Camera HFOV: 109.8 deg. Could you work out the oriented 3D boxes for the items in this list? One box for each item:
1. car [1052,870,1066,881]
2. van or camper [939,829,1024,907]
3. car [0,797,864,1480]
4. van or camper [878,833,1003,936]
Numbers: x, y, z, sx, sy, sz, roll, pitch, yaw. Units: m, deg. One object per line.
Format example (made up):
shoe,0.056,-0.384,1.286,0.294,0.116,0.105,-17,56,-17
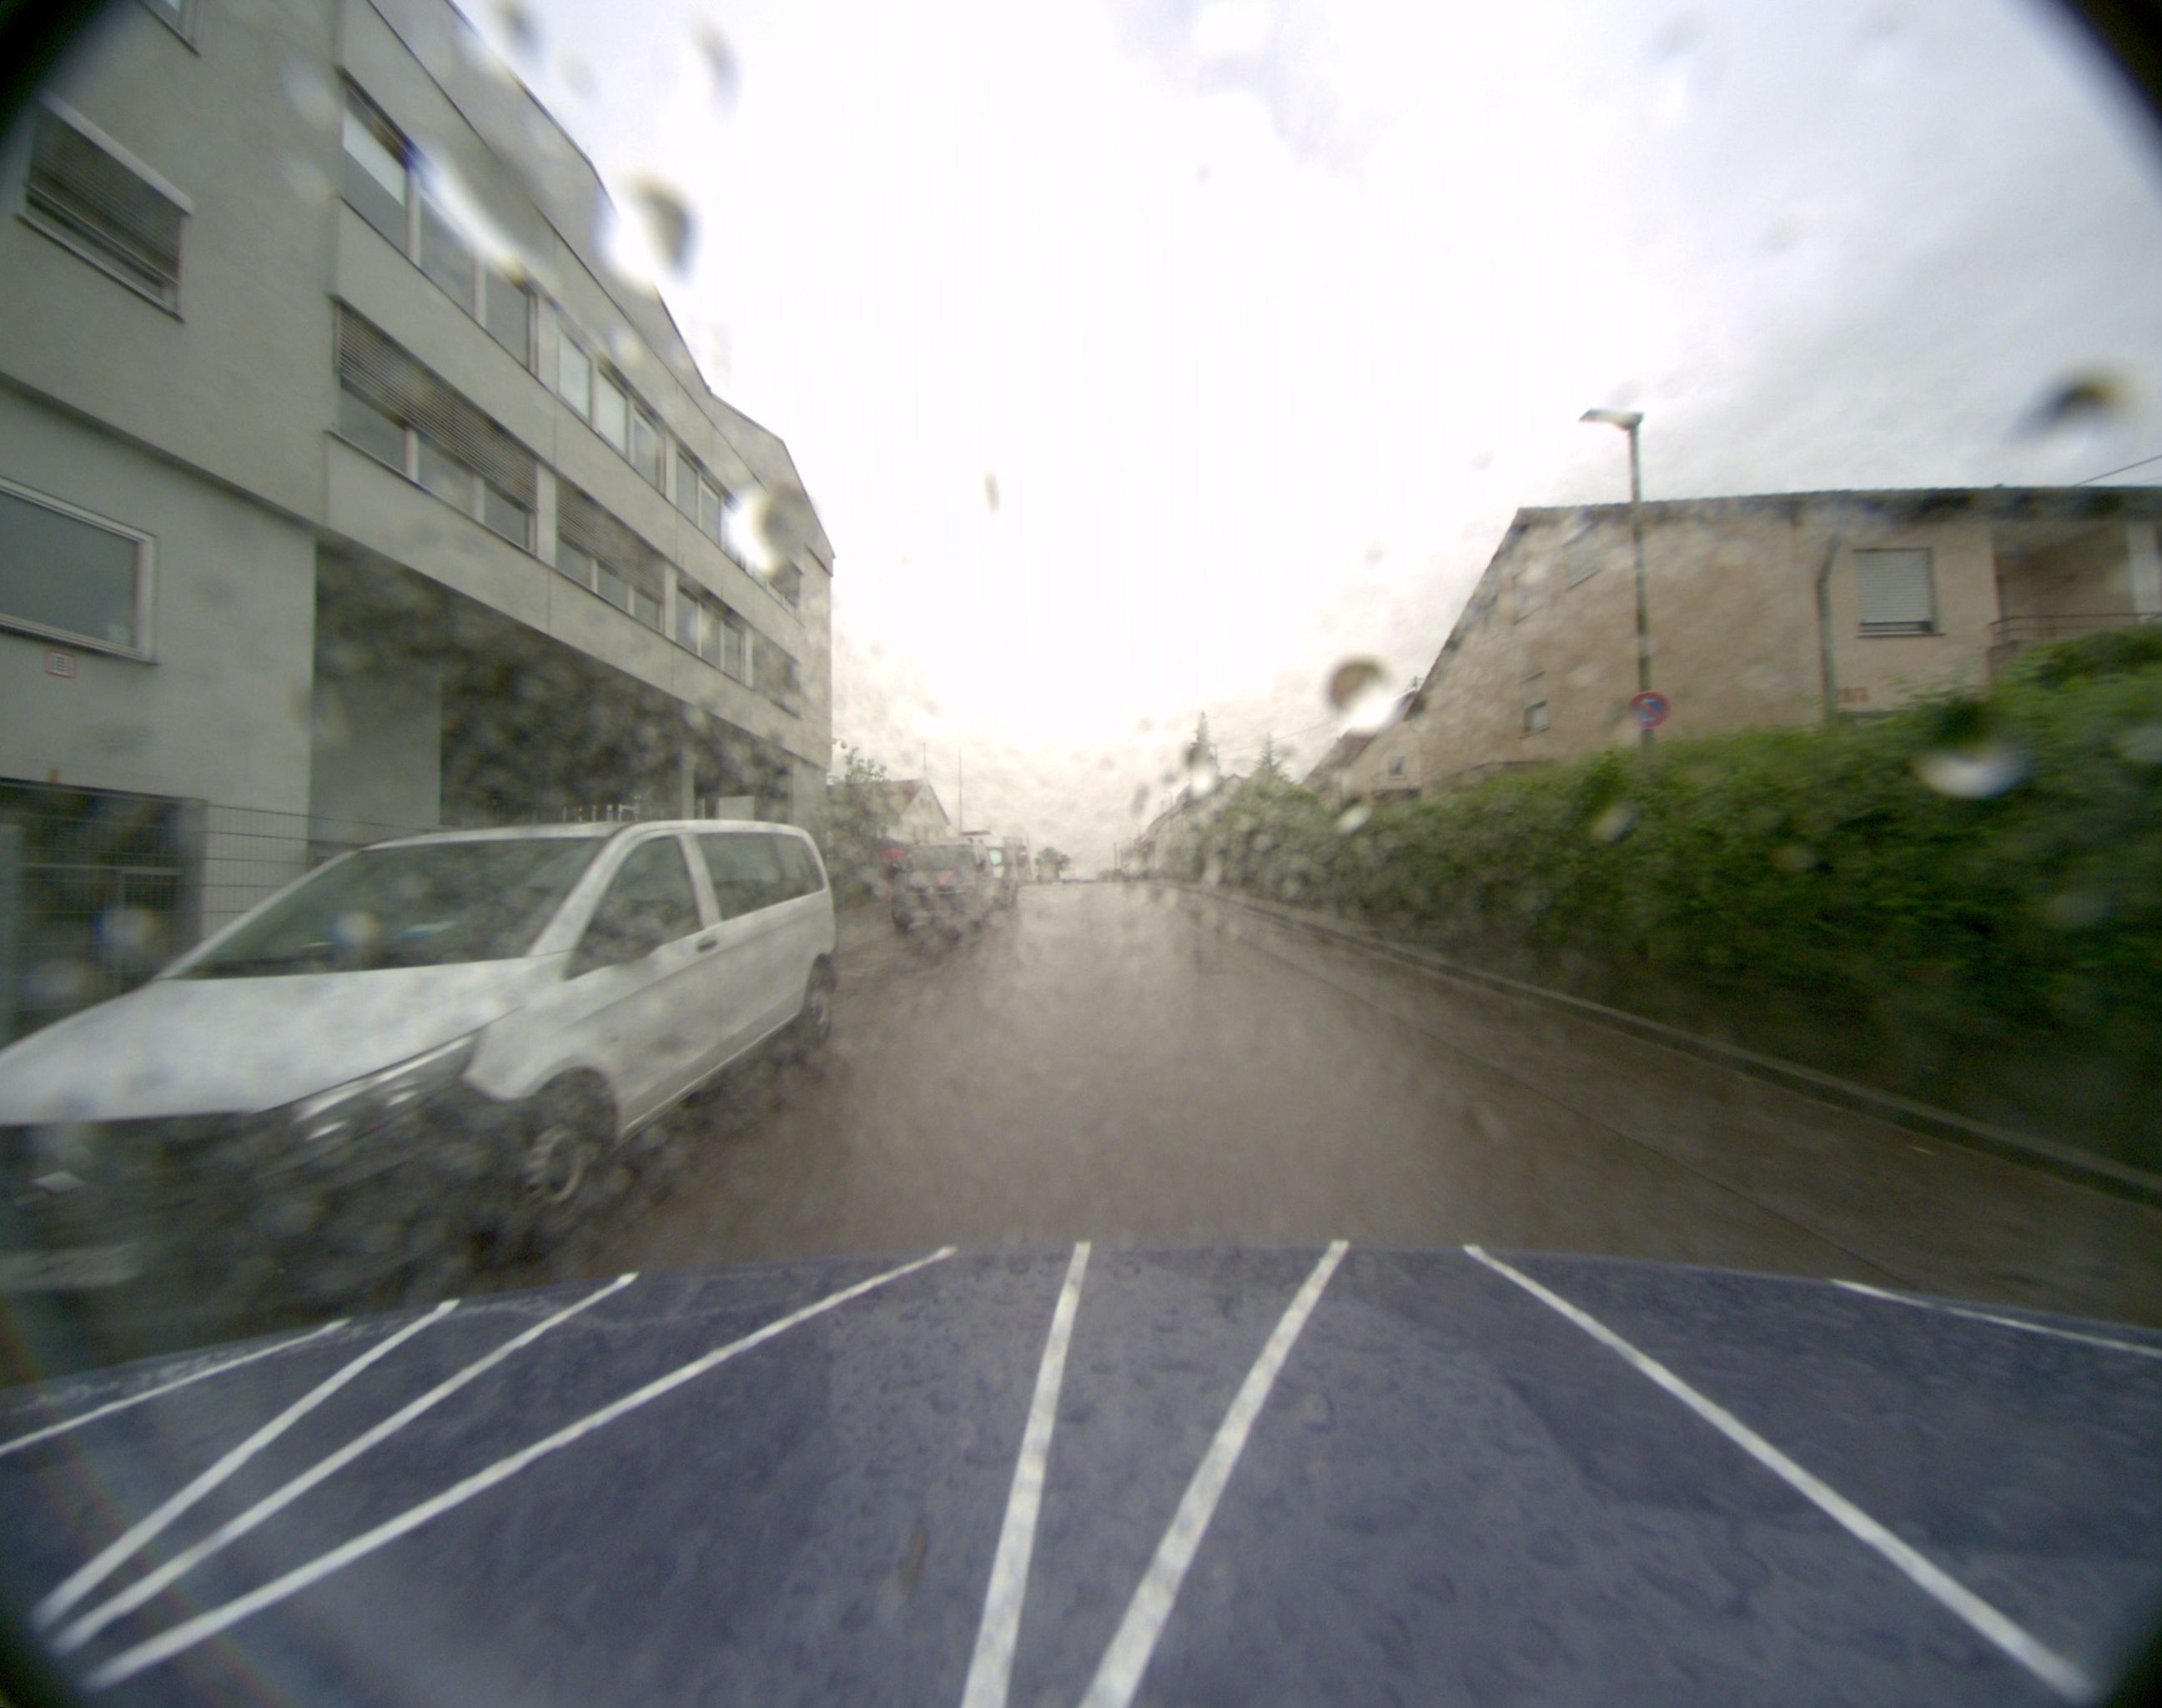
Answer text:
car,-3.122,3.049,106.529,1.898,1.537,4.000,0,-1,-2
van or camper,-3.079,0.424,24.654,1.998,2.229,5.441,-1,0,0
car,-3.100,0.816,4.641,1.998,1.924,4.976,-1,0,1
van or camper,-3.145,0.634,18.179,1.998,2.101,5.202,-1,0,0
